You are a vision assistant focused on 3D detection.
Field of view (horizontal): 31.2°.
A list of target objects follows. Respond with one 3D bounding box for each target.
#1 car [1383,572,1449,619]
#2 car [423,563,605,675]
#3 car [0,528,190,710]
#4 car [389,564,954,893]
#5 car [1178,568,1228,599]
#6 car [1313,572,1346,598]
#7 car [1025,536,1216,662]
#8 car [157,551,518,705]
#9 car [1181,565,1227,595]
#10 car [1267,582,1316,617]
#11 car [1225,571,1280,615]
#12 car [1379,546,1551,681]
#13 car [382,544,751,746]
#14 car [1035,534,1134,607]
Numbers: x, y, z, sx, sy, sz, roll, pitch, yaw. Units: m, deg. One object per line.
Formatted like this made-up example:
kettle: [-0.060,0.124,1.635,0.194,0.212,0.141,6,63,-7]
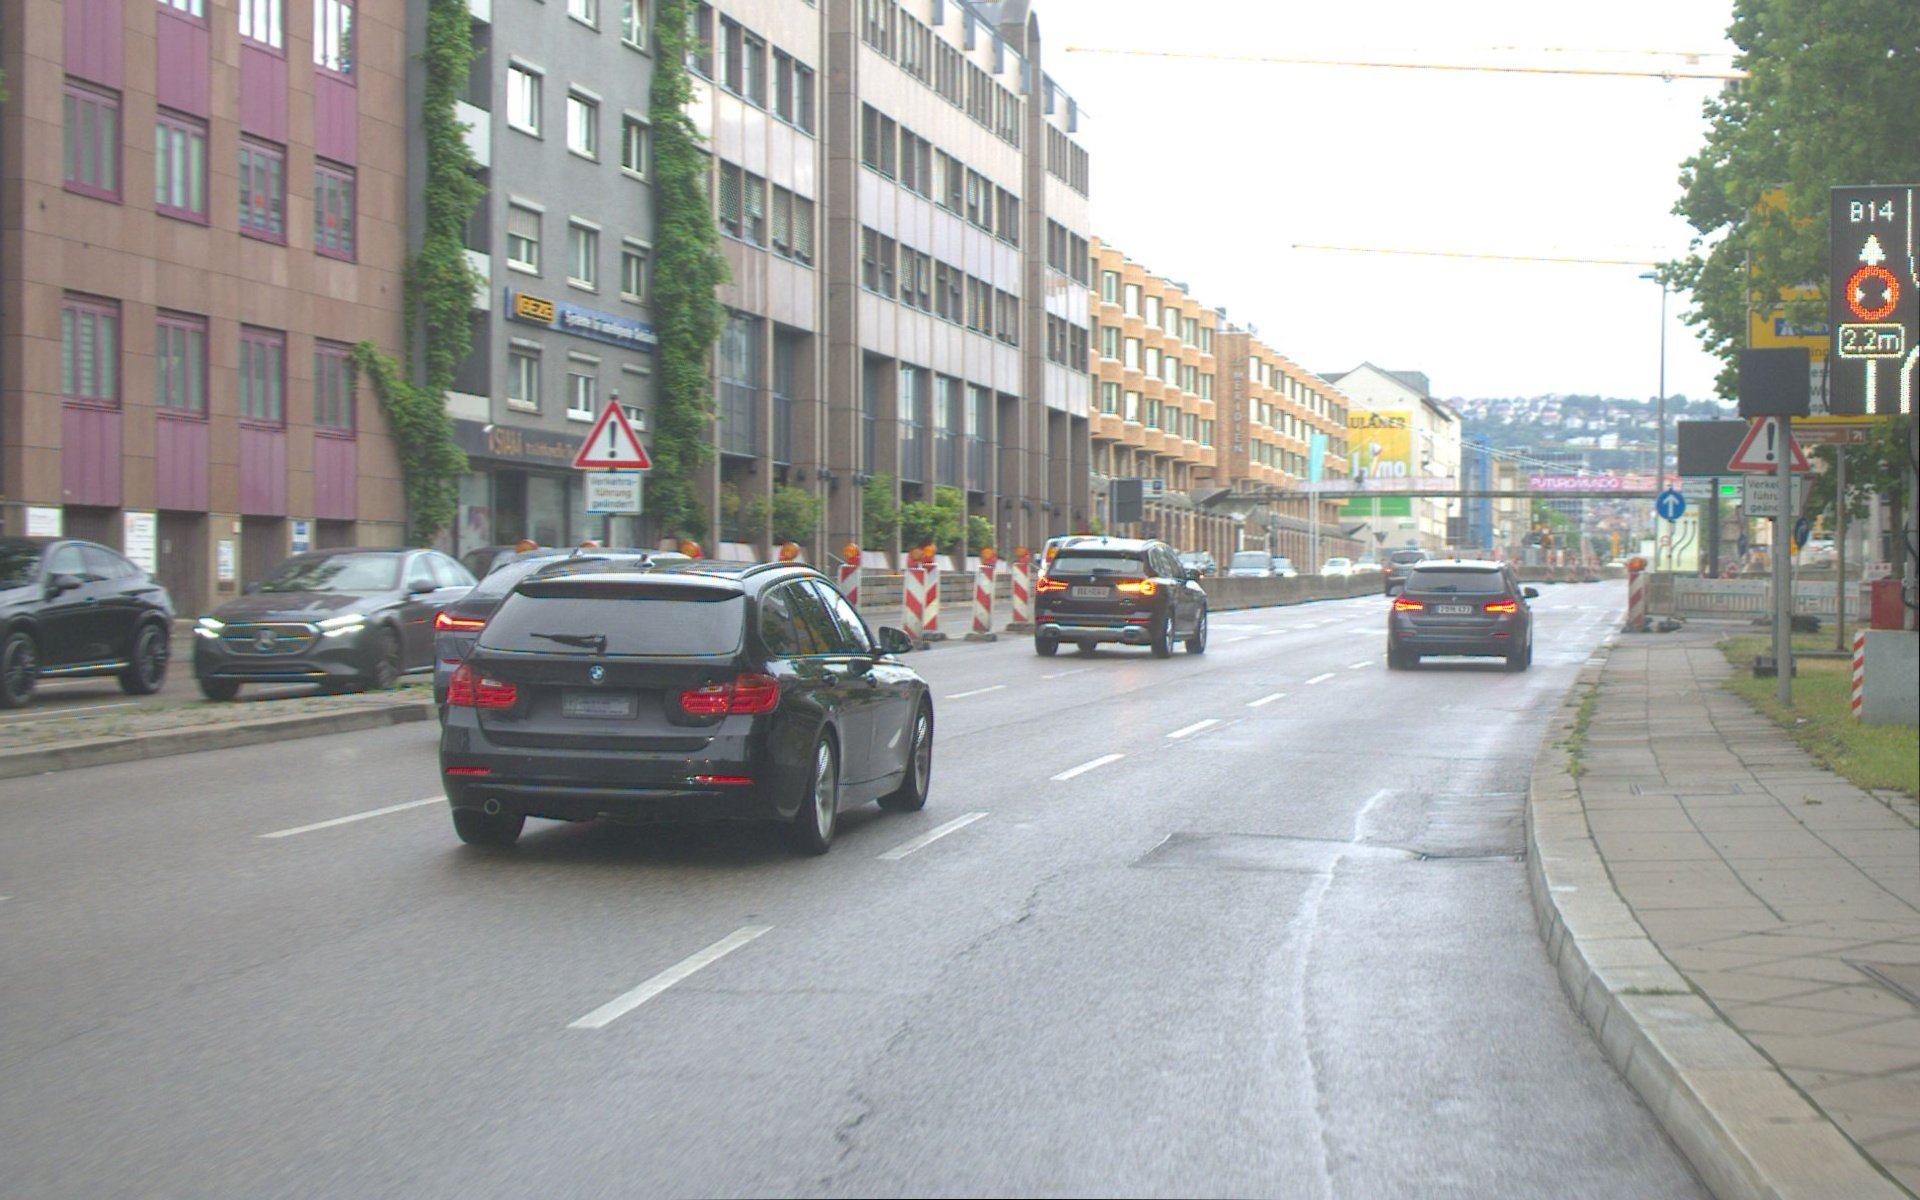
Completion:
car: [16.456,-0.168,123.918,1.901,1.688,3.997,0,0,15]
car: [-6.230,0.243,48.261,1.556,1.479,2.947,0,1,14]
car: [-9.469,0.169,33.633,1.994,1.671,4.935,-1,0,10]
car: [-1.324,0.554,17.832,1.792,1.421,4.611,2,1,10]
car: [12.820,-0.859,181.210,1.994,1.614,4.760,0,0,12]
car: [22.025,-0.881,204.626,1.603,1.437,3.656,0,2,12]
car: [2.306,-0.015,48.456,1.901,1.688,3.997,0,0,15]
car: [-6.215,0.242,34.962,1.994,1.433,4.935,-1,0,10]
car: [13.664,-1.112,192.497,1.994,1.614,4.315,0,0,12]
car: [15.126,-0.033,156.609,1.861,1.528,4.229,0,0,10]
car: [11.982,-0.284,140.427,1.722,1.764,4.423,0,0,12]
car: [6.783,0.161,45.892,1.901,1.687,3.998,1,1,13]
car: [-2.922,0.315,26.499,1.791,1.422,4.383,0,0,8]
car: [3.523,-0.822,96.529,1.994,1.983,5.286,0,0,11]
